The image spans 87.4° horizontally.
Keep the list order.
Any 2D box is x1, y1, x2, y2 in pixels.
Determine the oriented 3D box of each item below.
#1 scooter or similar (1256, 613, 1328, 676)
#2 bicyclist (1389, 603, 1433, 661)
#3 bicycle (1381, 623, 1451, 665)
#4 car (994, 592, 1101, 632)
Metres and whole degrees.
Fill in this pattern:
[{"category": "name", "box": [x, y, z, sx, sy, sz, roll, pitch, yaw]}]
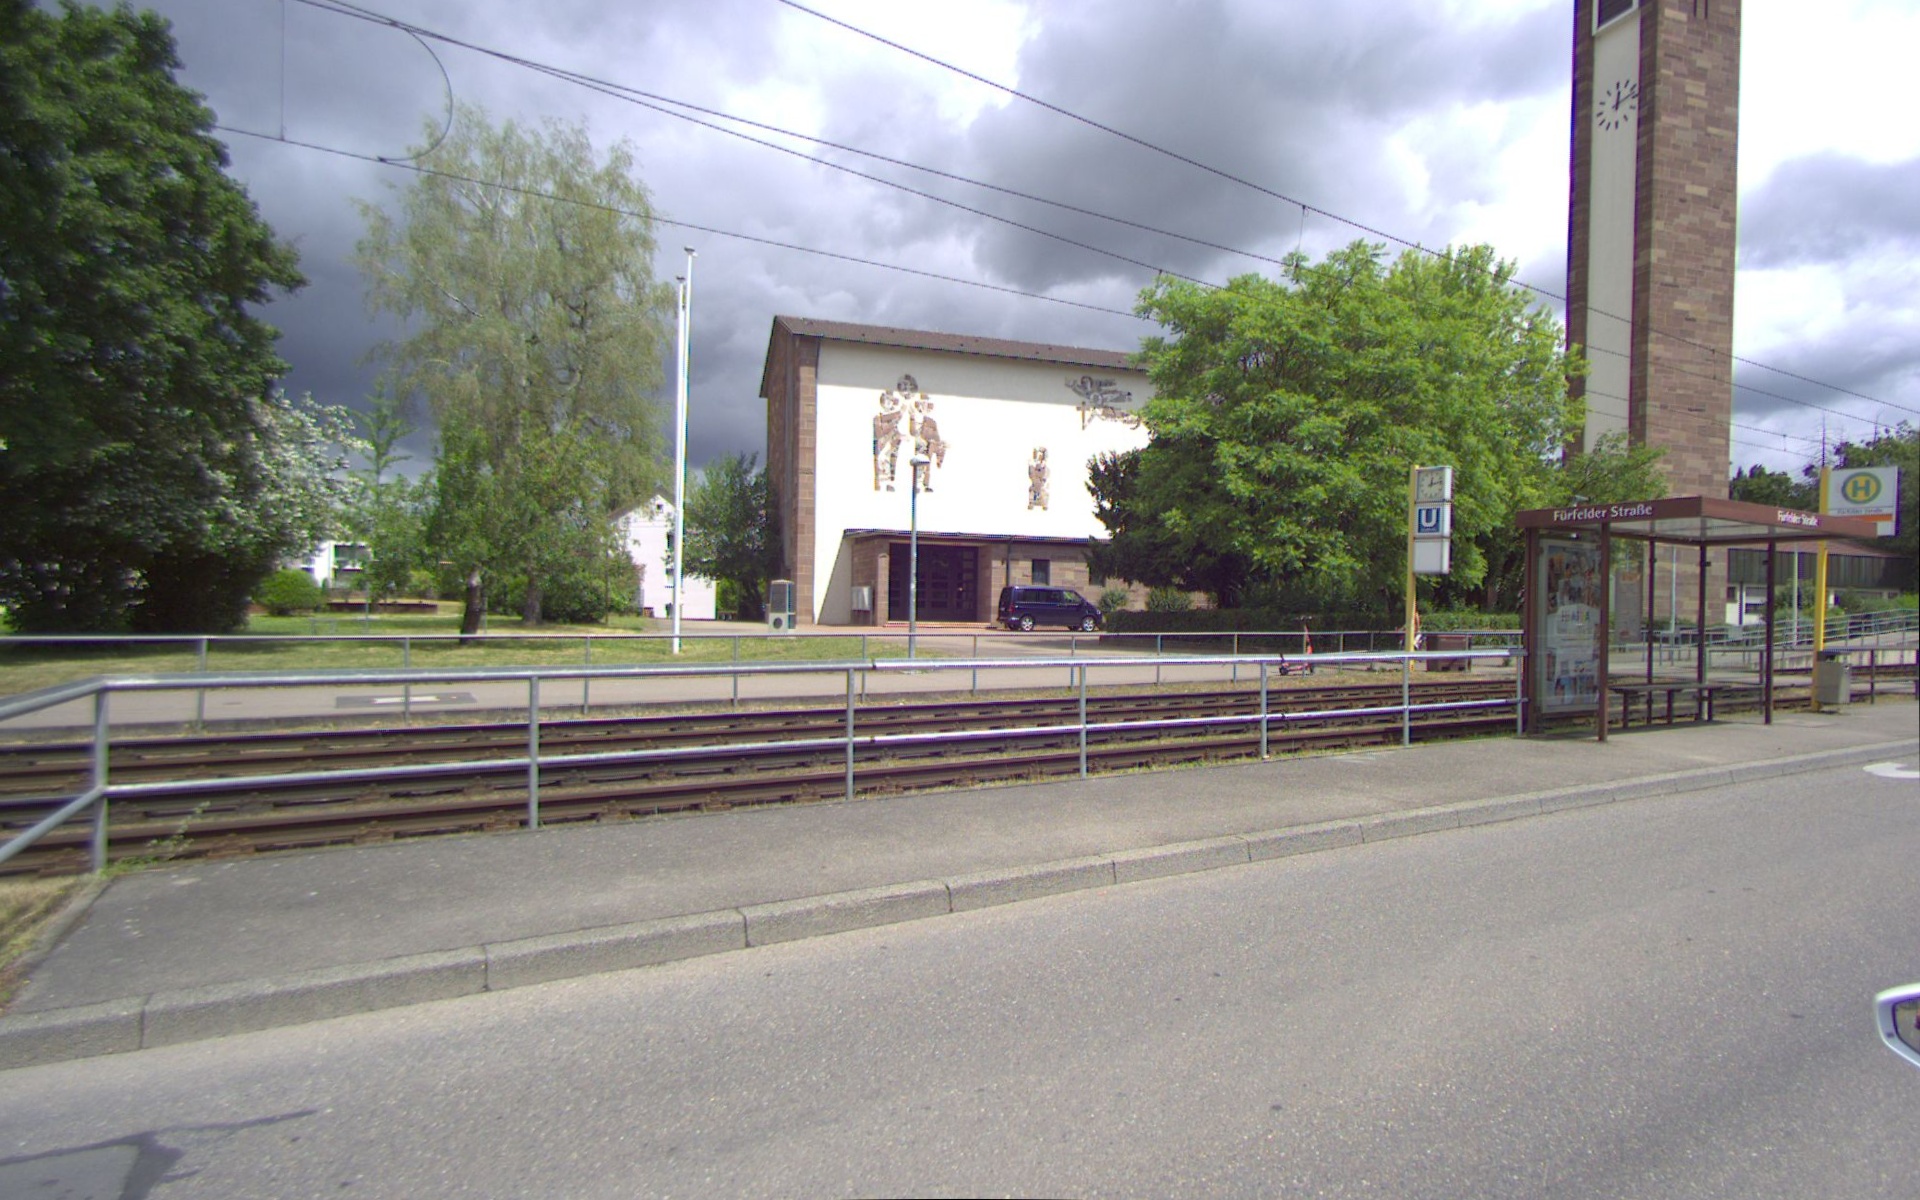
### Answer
[{"category": "scooter or similar", "box": [6.999, 0.917, 21.164, 1.384, 1.254, 0.646, 0, 2, -30]}, {"category": "bicyclist", "box": [11.549, 0.815, 25.720, 0.781, 1.448, 0.630, 1, 2, -31]}, {"category": "bicycle", "box": [11.757, 1.135, 25.882, 1.906, 1.007, 0.634, 2, 2, -31]}, {"category": "car", "box": [3.941, 0.535, 45.470, 4.399, 1.595, 1.995, 2, 1, -13]}]
